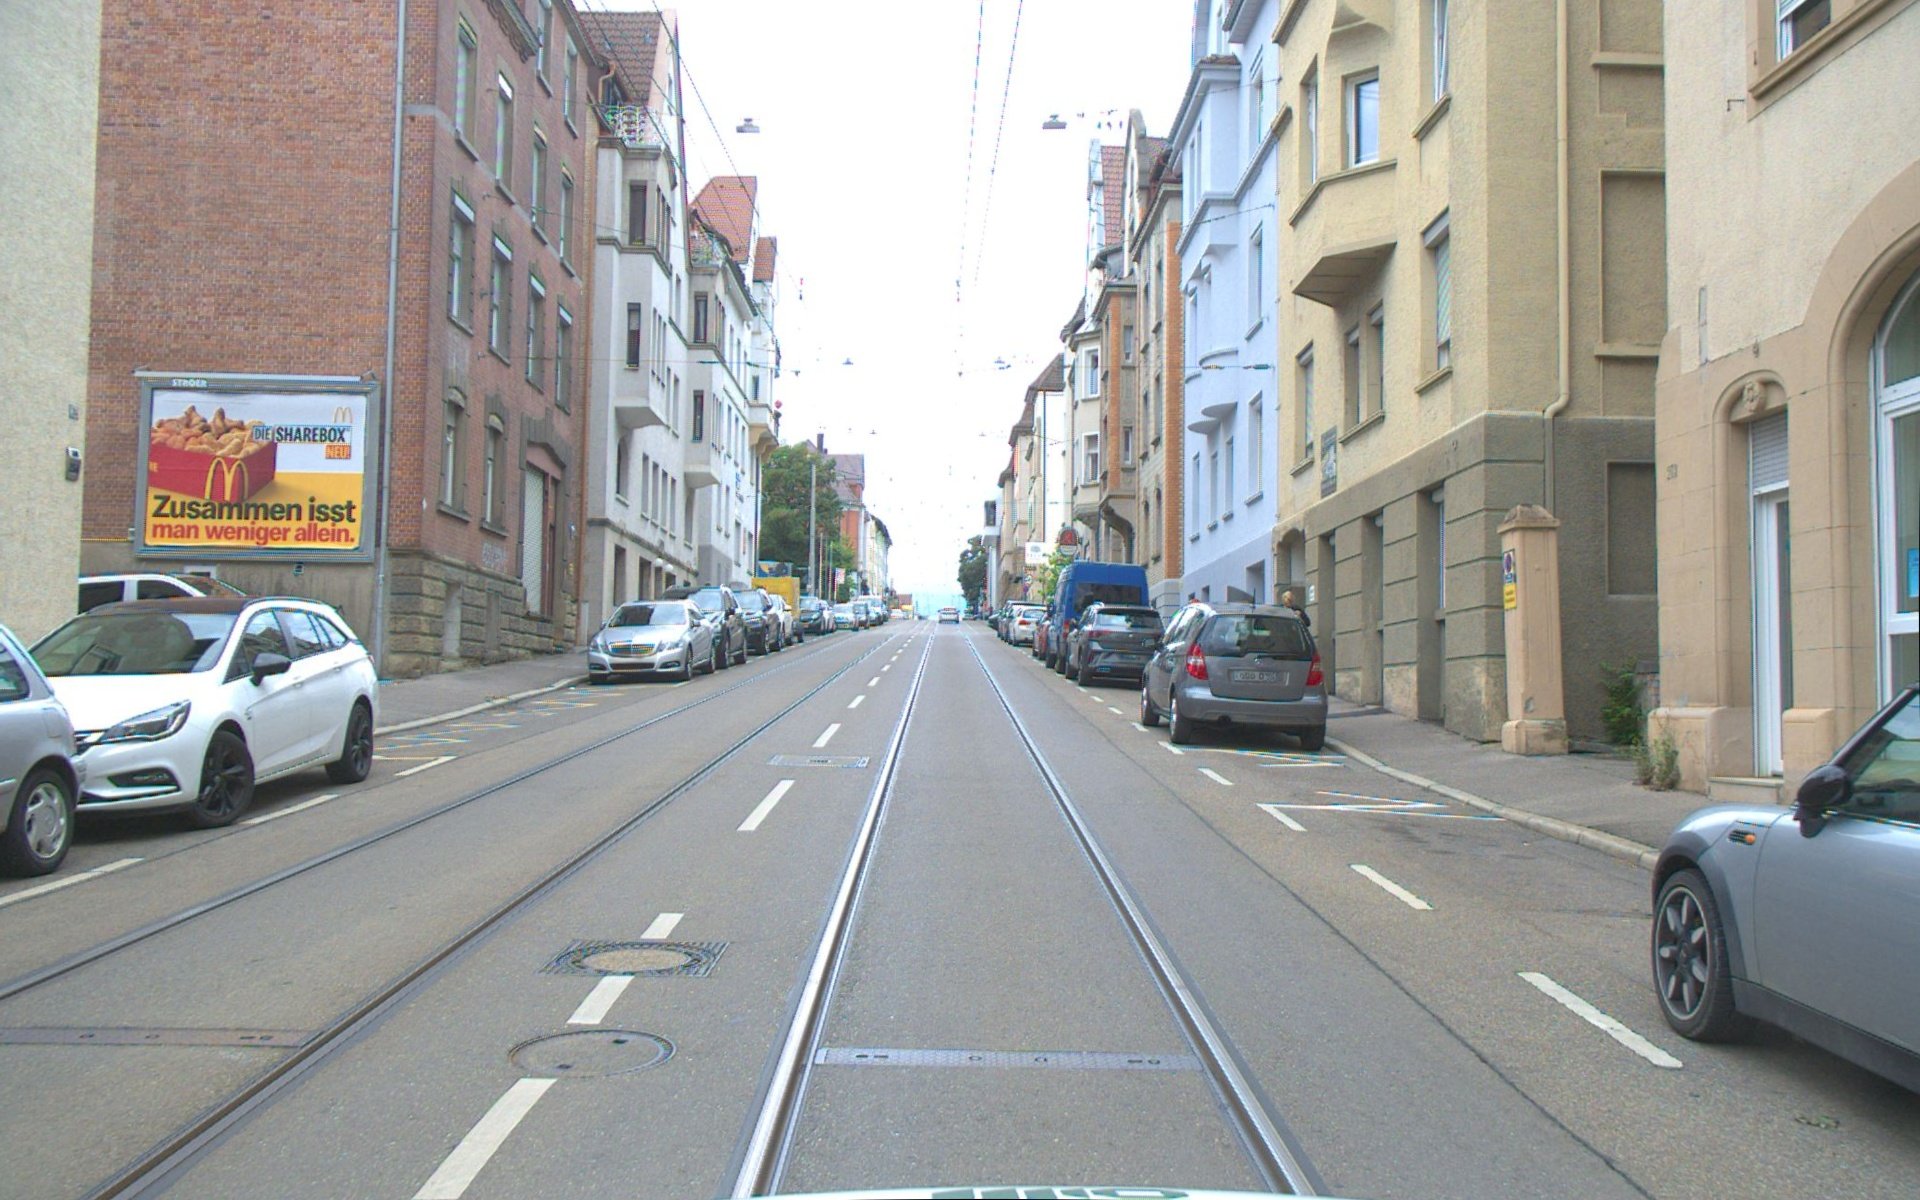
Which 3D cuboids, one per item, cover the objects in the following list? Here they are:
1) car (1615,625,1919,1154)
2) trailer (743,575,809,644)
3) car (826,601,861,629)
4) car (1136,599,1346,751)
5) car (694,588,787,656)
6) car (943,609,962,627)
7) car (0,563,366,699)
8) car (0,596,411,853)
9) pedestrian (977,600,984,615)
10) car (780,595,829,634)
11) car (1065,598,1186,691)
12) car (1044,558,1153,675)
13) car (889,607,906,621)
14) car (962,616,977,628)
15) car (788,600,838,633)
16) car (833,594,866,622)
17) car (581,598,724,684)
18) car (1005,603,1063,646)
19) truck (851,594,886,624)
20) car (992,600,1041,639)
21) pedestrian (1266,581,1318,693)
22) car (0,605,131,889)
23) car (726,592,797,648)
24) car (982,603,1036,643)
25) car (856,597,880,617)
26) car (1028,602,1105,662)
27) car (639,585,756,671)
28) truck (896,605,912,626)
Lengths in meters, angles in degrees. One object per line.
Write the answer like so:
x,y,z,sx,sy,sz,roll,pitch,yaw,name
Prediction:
3.532,0.870,4.912,1.660,1.428,3.667,3,0,0,car
-6.116,0.308,55.318,1.713,2.193,4.071,-1,0,0,trailer
-6.654,0.857,94.767,1.662,1.583,3.850,1,0,1,car
3.280,0.817,20.051,1.790,1.545,4.027,3,0,0,car
-5.900,0.559,44.918,1.835,1.693,4.891,-1,0,0,car
-0.684,1.629,148.371,1.638,1.539,3.796,1,0,-2,car
-11.828,0.449,24.865,5.072,1.850,1.939,-1,0,-5,car
-5.591,0.741,12.010,1.791,1.454,4.625,-3,0,-3,car
2.234,0.836,180.702,0.775,1.696,0.799,1,-1,2,pedestrian
-6.247,0.594,66.770,1.662,1.494,3.023,-1,0,0,car
3.133,0.825,32.121,1.744,1.557,4.191,4,0,-1,car
3.055,0.380,37.542,1.953,2.418,5.055,1,-1,-1,car
-7.520,1.662,199.013,1.817,1.635,4.296,1,0,-1,car
1.193,2.862,217.410,1.953,1.590,4.289,1,0,0,car
-6.359,0.695,71.959,1.743,1.381,4.291,1,0,1,car
-7.076,0.519,106.004,1.708,1.766,4.519,-1,0,1,car
-5.729,0.721,31.381,1.790,1.454,4.839,-1,0,0,car
2.625,0.861,59.355,1.715,1.415,4.306,3,0,-2,car
-7.194,0.726,131.013,2.233,2.226,8.025,1,0,0,truck
2.388,0.817,71.013,1.700,1.564,4.571,3,0,-3,car
5.189,0.585,25.867,0.530,1.711,0.515,-3,-3,-9,pedestrian
-5.550,0.770,7.523,1.568,1.392,3.807,-3,0,0,car
-6.084,0.598,51.151,1.662,1.621,4.268,-1,0,0,car
1.880,0.894,64.812,1.744,1.415,4.690,3,0,-2,car
-6.925,0.522,124.356,1.663,1.458,4.479,-1,0,-2,car
2.943,0.872,46.417,1.744,1.501,4.588,3,0,-1,car
-5.761,0.564,36.798,1.790,1.748,4.913,-1,0,0,car
-8.591,2.396,253.513,2.255,3.090,9.031,1,-1,-1,truck
